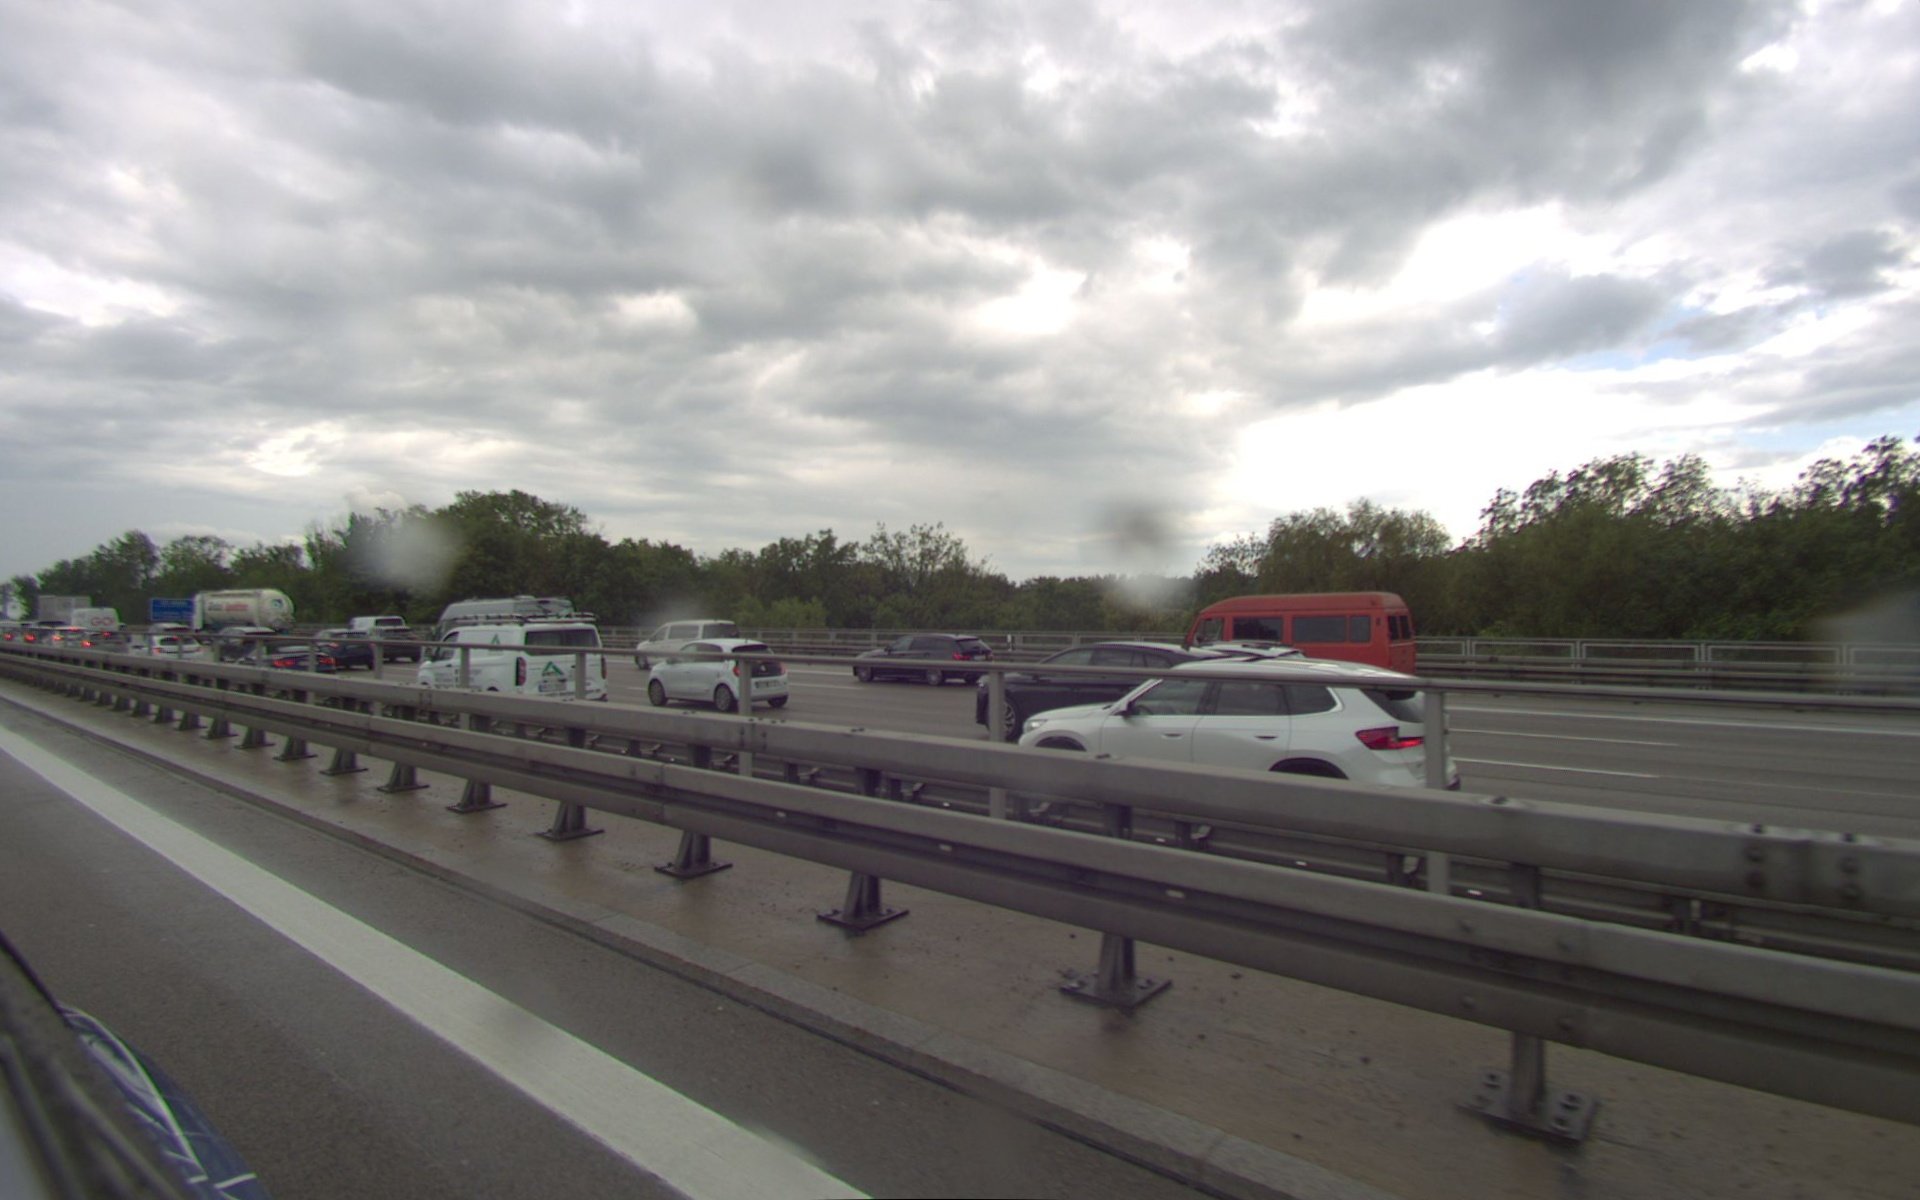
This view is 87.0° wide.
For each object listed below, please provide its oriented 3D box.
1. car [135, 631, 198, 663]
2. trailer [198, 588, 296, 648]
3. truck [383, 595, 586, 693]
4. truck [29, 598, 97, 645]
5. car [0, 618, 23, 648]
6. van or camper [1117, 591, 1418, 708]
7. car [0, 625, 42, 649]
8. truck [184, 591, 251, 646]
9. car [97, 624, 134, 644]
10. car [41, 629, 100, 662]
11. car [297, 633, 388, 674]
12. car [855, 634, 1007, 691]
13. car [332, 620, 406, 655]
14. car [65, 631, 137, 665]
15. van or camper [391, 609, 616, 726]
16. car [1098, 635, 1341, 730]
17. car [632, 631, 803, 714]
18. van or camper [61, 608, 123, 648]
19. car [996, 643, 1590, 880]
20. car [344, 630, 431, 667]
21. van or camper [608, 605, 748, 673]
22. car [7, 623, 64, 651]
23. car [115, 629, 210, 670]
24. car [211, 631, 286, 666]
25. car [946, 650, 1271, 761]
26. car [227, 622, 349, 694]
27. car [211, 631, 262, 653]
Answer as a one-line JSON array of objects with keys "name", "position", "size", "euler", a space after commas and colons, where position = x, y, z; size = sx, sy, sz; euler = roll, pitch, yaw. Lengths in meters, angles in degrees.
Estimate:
[{"name": "car", "position": [-43.707, 2.548, 55.711], "size": [4.415, 1.660, 1.813], "euler": [-1, -2, 39]}, {"name": "trailer", "position": [-50.776, 1.315, 71.850], "size": [13.209, 3.988, 2.436], "euler": [-1, -2, 40]}, {"name": "truck", "position": [-14.560, 1.255, 30.568], "size": [8.750, 2.622, 2.124], "euler": [-1, -2, 40]}, {"name": "truck", "position": [-85.350, 2.050, 96.205], "size": [10.860, 4.325, 3.225], "euler": [-1, -2, 40]}, {"name": "car", "position": [-66.330, 2.272, 69.771], "size": [5.032, 2.001, 1.835], "euler": [-1, -2, 39]}, {"name": "van or camper", "position": [6.747, 0.983, 22.792], "size": [6.230, 2.322, 1.920], "euler": [0, -1, 40]}, {"name": "car", "position": [-59.677, 2.311, 64.072], "size": [4.222, 1.500, 1.663], "euler": [-1, -2, 39]}, {"name": "truck", "position": [-56.110, 1.398, 76.427], "size": [6.977, 3.995, 2.436], "euler": [-1, -2, 40]}, {"name": "car", "position": [-68.227, 2.730, 81.778], "size": [3.997, 1.628, 1.603], "euler": [-1, -2, 40]}, {"name": "car", "position": [-48.091, 2.415, 54.665], "size": [4.925, 1.640, 1.771], "euler": [-1, -2, 41]}, {"name": "car", "position": [-24.001, 2.040, 39.289], "size": [4.029, 1.486, 1.813], "euler": [-1, -2, 39]}, {"name": "car", "position": [-0.916, 1.742, 29.322], "size": [4.608, 1.486, 1.470], "euler": [-1, -2, 40]}, {"name": "car", "position": [-34.200, 2.144, 58.486], "size": [5.416, 1.959, 1.982], "euler": [-1, -2, 40]}, {"name": "car", "position": [-41.547, 2.293, 48.910], "size": [5.069, 1.526, 1.932], "euler": [-1, -2, 41]}, {"name": "van or camper", "position": [-9.408, 1.265, 20.604], "size": [5.639, 2.083, 1.963], "euler": [-1, -2, 40]}, {"name": "car", "position": [4.719, 1.428, 18.683], "size": [3.996, 1.512, 1.772], "euler": [-1, -2, 39]}, {"name": "car", "position": [-5.519, 1.554, 22.821], "size": [3.996, 1.648, 1.660], "euler": [-1, -2, 39]}, {"name": "van or camper", "position": [-59.813, 1.922, 69.689], "size": [7.452, 2.624, 2.013], "euler": [-1, -2, 40]}, {"name": "car", "position": [3.002, 1.323, 10.077], "size": [5.354, 1.688, 1.806], "euler": [-1, -2, 40]}, {"name": "car", "position": [-25.233, 2.075, 44.550], "size": [4.581, 1.523, 1.813], "euler": [-1, -2, 40]}, {"name": "van or camper", "position": [-10.536, 1.402, 37.554], "size": [5.930, 2.347, 2.025], "euler": [-1, -2, 40]}, {"name": "car", "position": [-53.432, 2.115, 58.441], "size": [4.598, 1.522, 1.772], "euler": [-1, -2, 39]}, {"name": "car", "position": [-31.548, 1.906, 39.945], "size": [5.920, 1.486, 1.813], "euler": [-1, -2, 40]}, {"name": "car", "position": [-32.906, 2.207, 46.767], "size": [4.573, 1.486, 1.812], "euler": [-1, -2, 41]}, {"name": "car", "position": [2.218, 1.560, 16.151], "size": [5.011, 1.420, 1.660], "euler": [-1, -2, 39]}, {"name": "car", "position": [-20.102, 1.645, 30.183], "size": [4.724, 1.964, 1.927], "euler": [-1, -2, 42]}, {"name": "car", "position": [-43.010, 2.477, 60.130], "size": [3.997, 1.277, 1.483], "euler": [-1, -2, 40]}]
